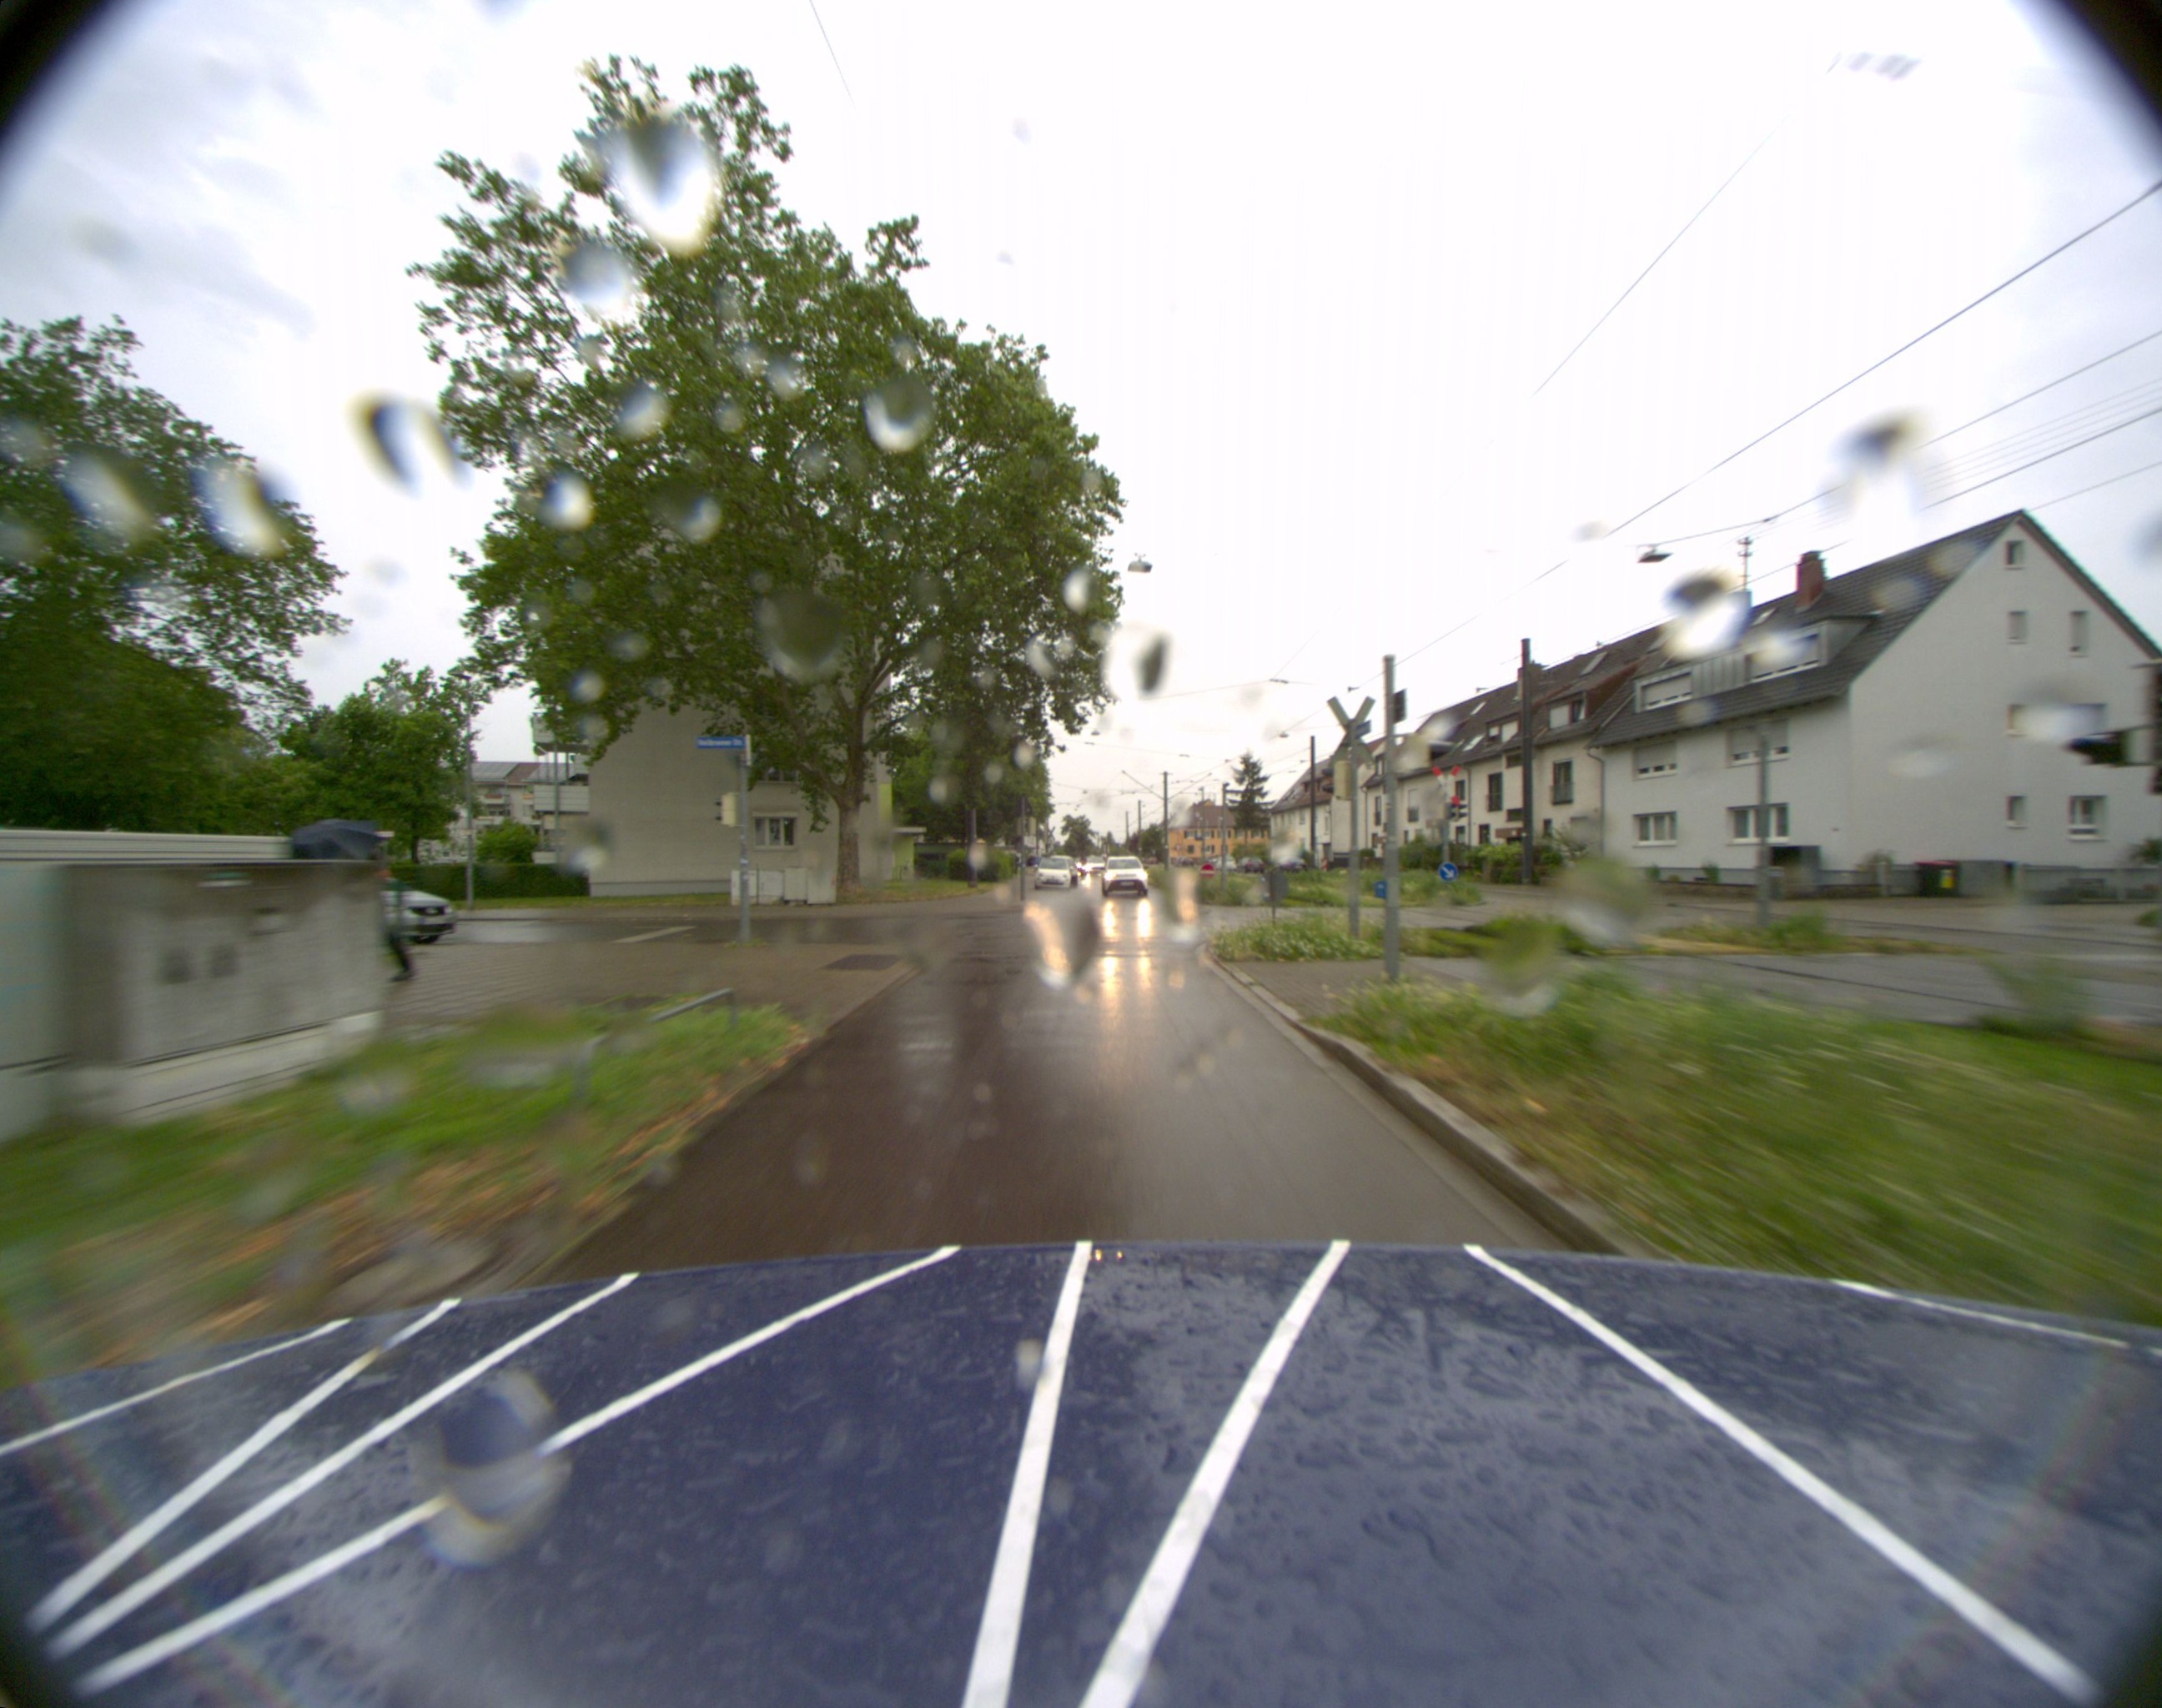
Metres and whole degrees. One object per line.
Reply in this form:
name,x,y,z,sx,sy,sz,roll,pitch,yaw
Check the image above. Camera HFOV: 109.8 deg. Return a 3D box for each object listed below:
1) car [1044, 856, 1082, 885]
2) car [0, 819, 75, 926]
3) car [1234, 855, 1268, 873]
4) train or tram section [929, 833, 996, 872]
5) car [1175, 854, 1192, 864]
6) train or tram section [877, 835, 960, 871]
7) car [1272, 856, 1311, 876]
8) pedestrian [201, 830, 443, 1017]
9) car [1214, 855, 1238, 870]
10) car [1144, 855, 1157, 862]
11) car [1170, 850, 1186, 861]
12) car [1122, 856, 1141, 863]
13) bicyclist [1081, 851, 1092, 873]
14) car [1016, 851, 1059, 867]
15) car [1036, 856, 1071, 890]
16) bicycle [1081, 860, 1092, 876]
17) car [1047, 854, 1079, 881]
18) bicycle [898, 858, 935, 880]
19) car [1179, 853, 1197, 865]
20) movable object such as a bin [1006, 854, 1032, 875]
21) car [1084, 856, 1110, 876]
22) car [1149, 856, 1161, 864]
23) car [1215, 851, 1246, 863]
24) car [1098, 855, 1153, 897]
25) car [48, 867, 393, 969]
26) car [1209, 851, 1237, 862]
car,-0.984,0.853,40.501,1.905,1.440,4.183,0,0,-2
car,-31.131,0.493,20.194,6.133,2.762,2.188,0,0,3
car,15.362,0.890,68.926,1.892,1.522,4.755,1,0,-2
train or tram section,-10.767,-0.133,68.565,2.763,3.320,6.382,0,0,-44
car,15.121,0.721,112.497,1.881,1.520,3.999,0,0,-1
train or tram section,-15.942,-0.123,73.874,2.763,3.320,10.321,0,0,-44
car,15.545,0.851,56.271,1.777,1.417,3.937,1,0,0
pedestrian,-8.022,0.674,8.130,1.101,1.803,1.435,0,0,11
car,15.255,0.870,80.105,1.715,1.432,3.999,1,0,-2
car,14.140,0.872,154.365,2.096,1.423,4.076,0,0,-2
car,15.461,0.271,121.399,1.998,1.648,4.000,-1,0,1
car,11.504,1.263,172.741,3.998,1.637,1.893,1,0,-4
bicyclist,0.373,0.526,51.150,0.710,1.503,0.715,0,1,-1
car,-4.392,0.506,77.269,4.007,1.518,1.715,0,0,-33
car,-1.267,0.848,36.214,1.562,1.510,3.999,0,0,-1
bicycle,0.363,0.934,51.140,0.710,1.031,2.099,0,0,-1
car,-1.112,0.815,47.435,1.905,1.566,4.111,0,0,-2
bicycle,-8.843,0.782,40.888,1.864,1.135,0.532,-1,0,-25
car,15.120,0.699,107.816,1.912,1.581,3.999,0,0,-1
movable object such as a bin,-4.297,0.722,52.934,1.155,1.432,1.472,0,0,-40
car,1.264,0.927,61.233,1.854,1.500,4.119,0,0,-1
car,14.205,1.090,145.643,1.885,1.423,4.076,0,0,-2
car,21.193,0.417,107.789,3.996,1.586,1.913,-1,0,1
car,1.731,0.832,30.713,1.854,1.500,4.119,-1,0,-1
car,-15.564,1.110,13.916,4.303,1.671,1.871,0,1,3
car,21.386,0.396,114.129,3.993,1.586,1.915,-1,0,13
